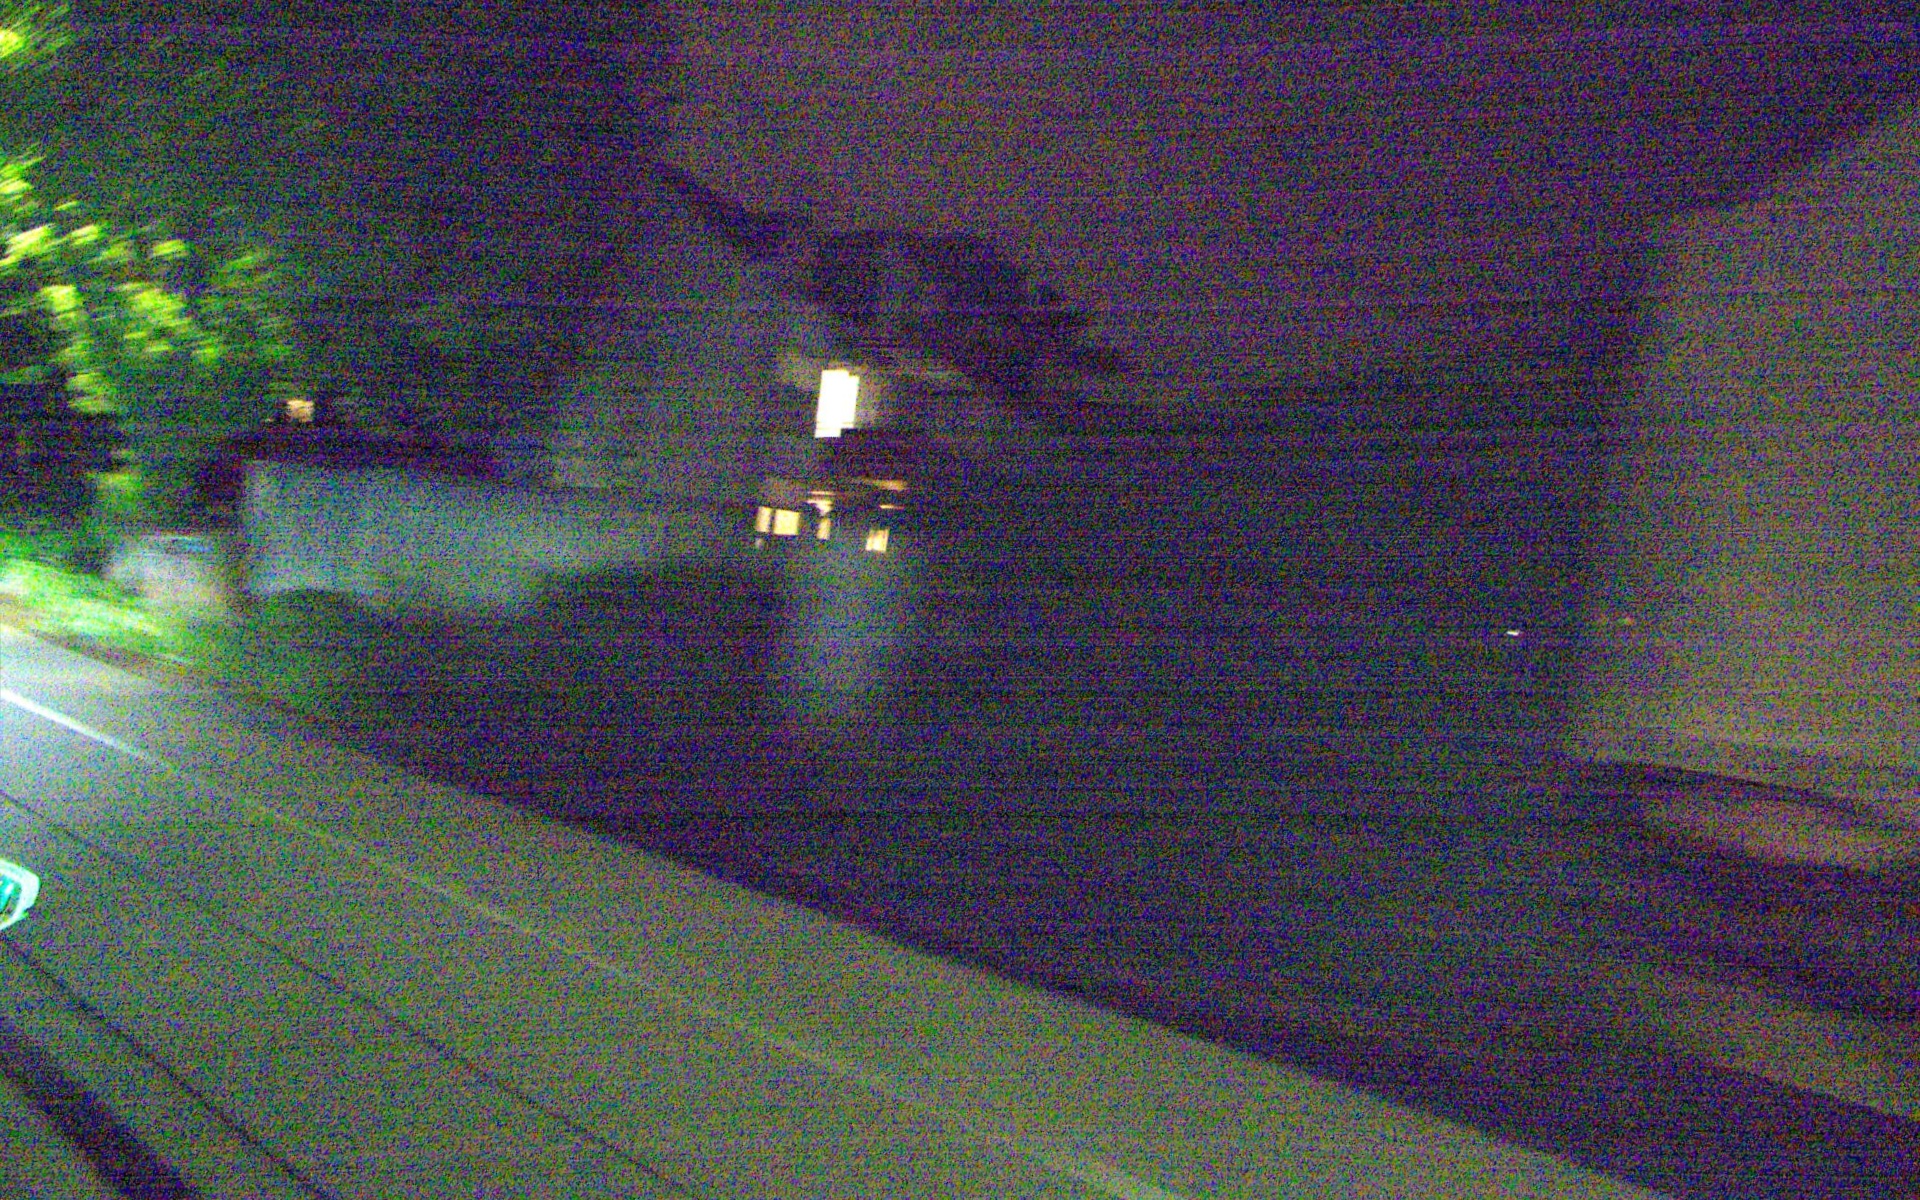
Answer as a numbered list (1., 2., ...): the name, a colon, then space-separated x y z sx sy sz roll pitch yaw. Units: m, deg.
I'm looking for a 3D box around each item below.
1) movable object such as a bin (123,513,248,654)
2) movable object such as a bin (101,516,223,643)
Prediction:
1. movable object such as a bin: -7.383 -0.154 9.593 0.709 1.215 0.723 7 1 40
2. movable object such as a bin: -8.018 -0.205 10.104 0.880 1.135 0.722 7 1 40
